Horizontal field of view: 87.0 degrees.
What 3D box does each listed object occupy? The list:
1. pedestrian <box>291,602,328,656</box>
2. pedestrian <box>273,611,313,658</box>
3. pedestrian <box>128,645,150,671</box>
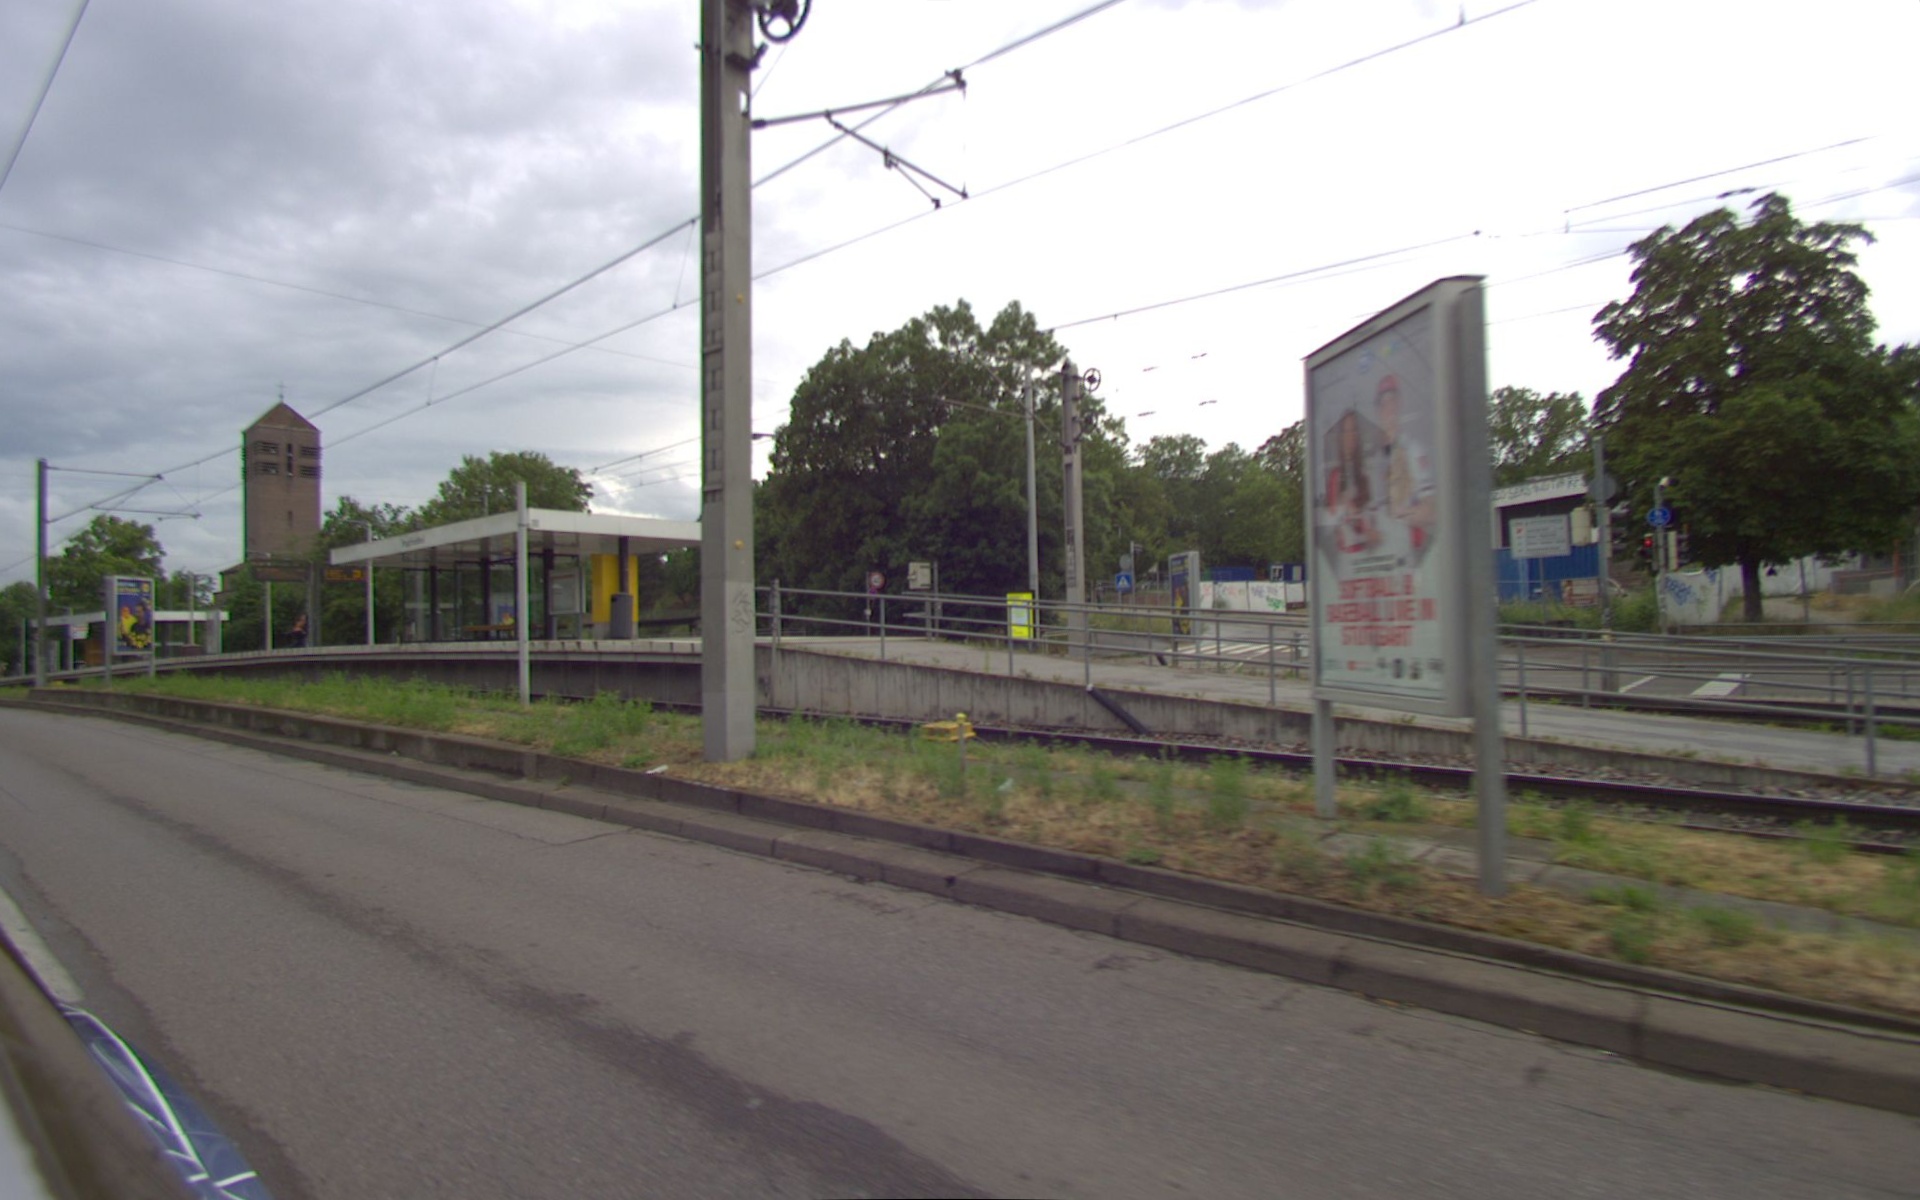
[{"bbox_3d":[-24.492,1.085,38.106,0.835,1.924,0.741,-6,-2,19],"label":"pedestrian"},{"bbox_3d":[-25.330,1.302,38.443,0.911,1.659,0.792,-6,-2,19],"label":"pedestrian"},{"bbox_3d":[-39.902,2.813,49.176,0.619,1.235,0.703,-5,-3,40],"label":"pedestrian"}]
